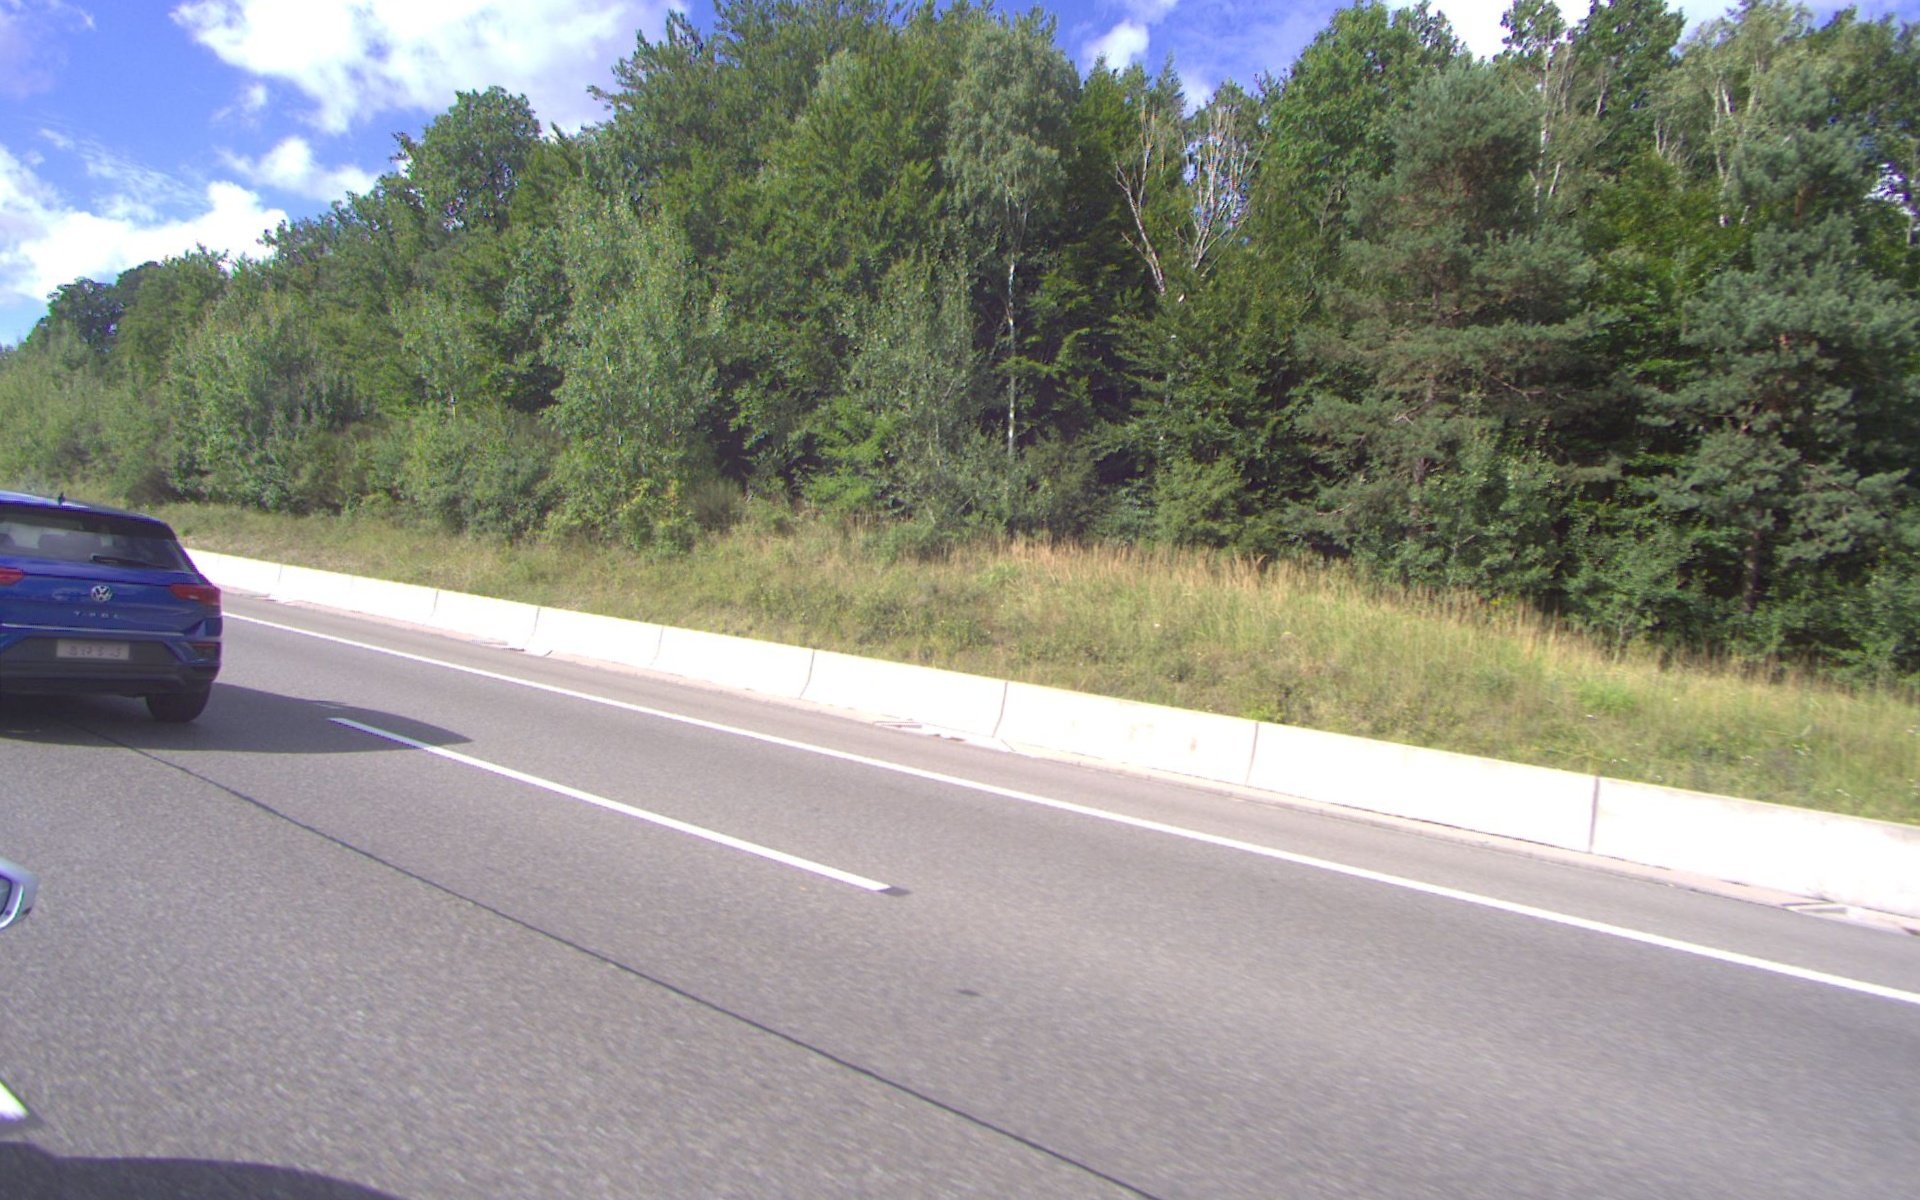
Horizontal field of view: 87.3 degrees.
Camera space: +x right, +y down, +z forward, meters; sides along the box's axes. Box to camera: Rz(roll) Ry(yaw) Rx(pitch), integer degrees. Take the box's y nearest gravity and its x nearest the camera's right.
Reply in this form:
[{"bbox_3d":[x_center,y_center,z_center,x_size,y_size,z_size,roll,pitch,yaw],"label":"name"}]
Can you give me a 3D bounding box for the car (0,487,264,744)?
[{"bbox_3d":[-7.385,-0.086,7.578,4.383,1.549,1.775,7,0,31],"label":"car"}]
